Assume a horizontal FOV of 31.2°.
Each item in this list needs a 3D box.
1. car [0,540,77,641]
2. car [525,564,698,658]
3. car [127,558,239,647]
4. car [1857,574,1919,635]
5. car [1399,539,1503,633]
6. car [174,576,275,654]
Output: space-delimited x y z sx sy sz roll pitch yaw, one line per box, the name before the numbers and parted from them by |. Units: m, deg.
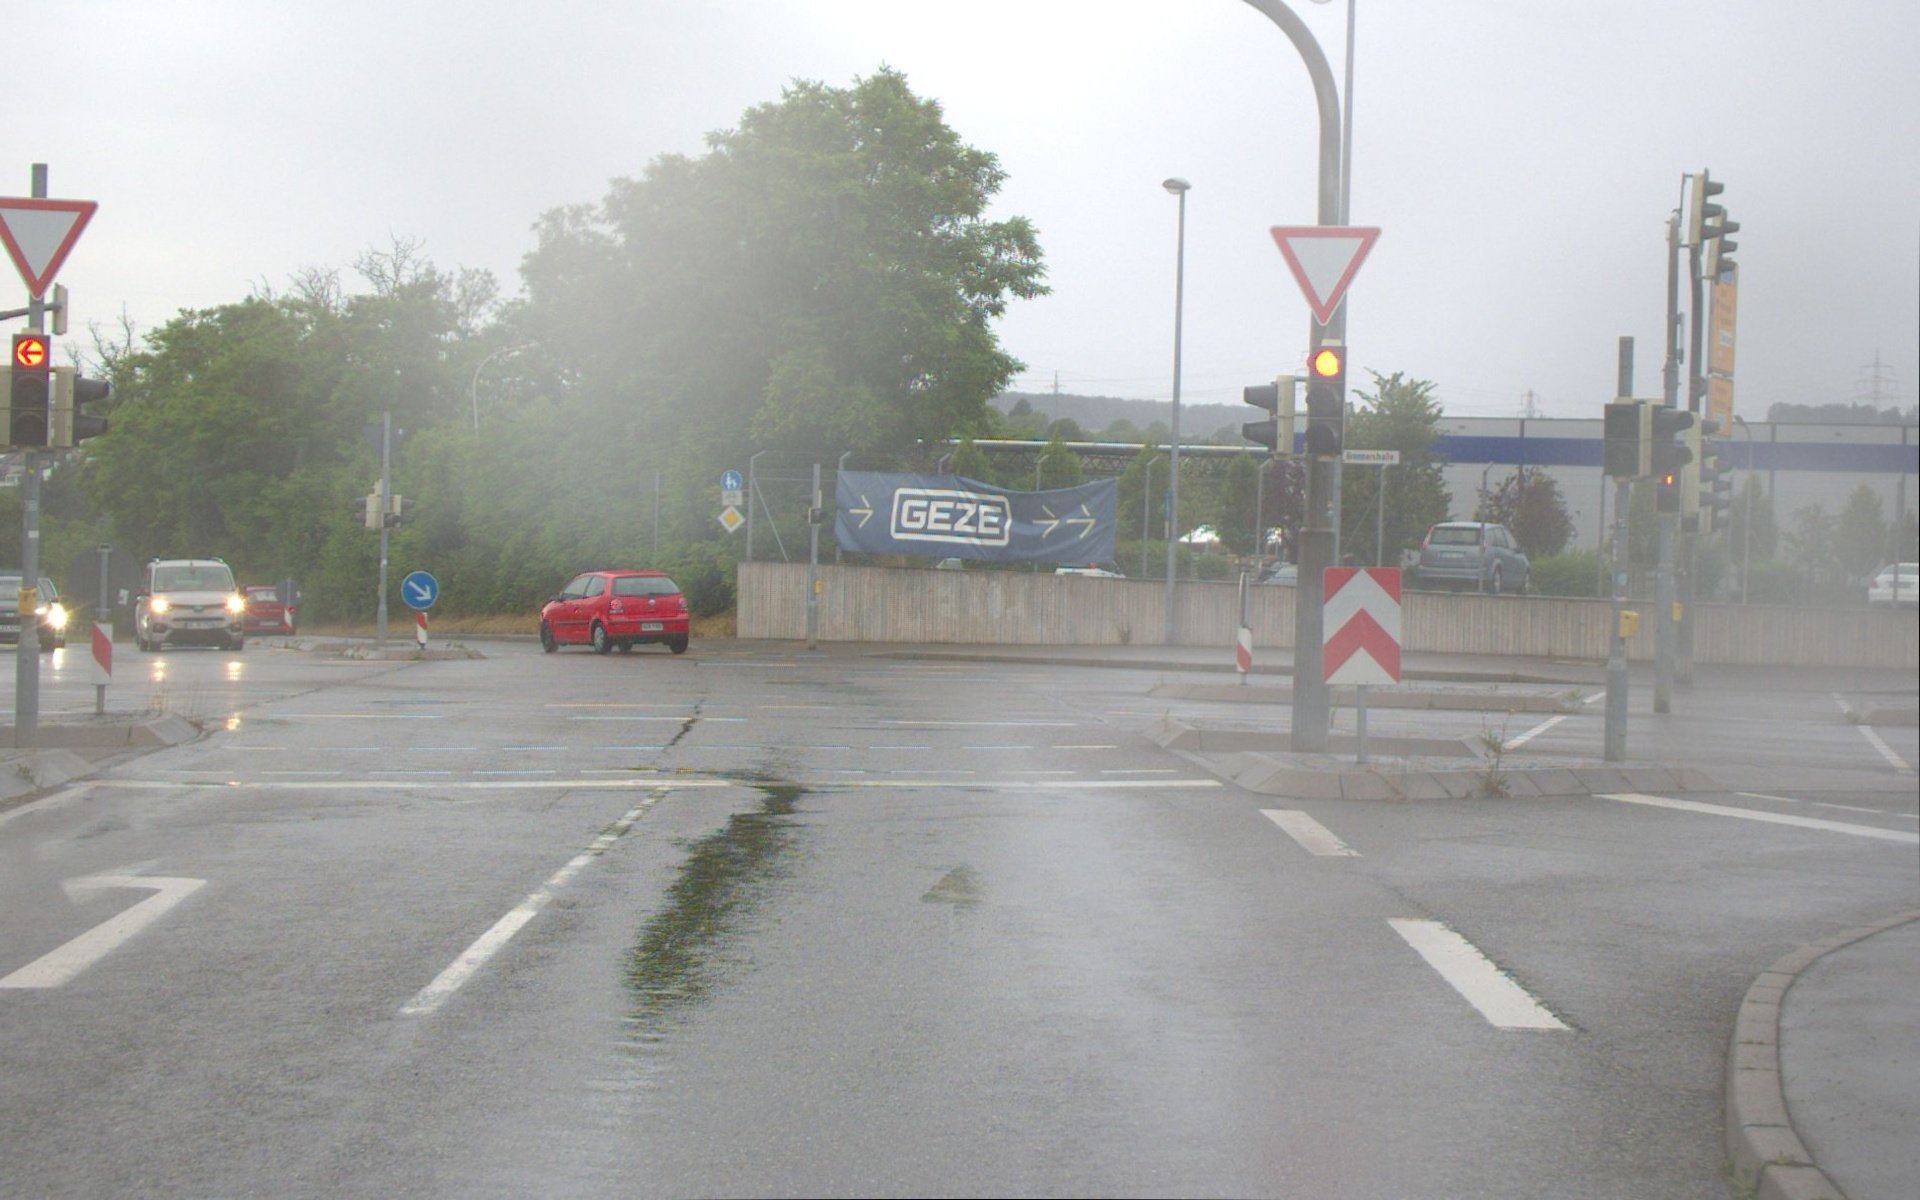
car | -18.582 -0.178 67.774 1.993 1.888 4.001 2 -1 -18
car | -6.198 0.174 60.865 1.615 1.444 3.808 2 2 -29
car | -15.186 0.030 67.071 1.993 1.612 4.001 1 1 -14
car | 24.020 0.103 87.263 1.996 1.473 3.996 2 1 21
car | 10.999 -0.319 76.840 1.994 2.007 3.998 1 0 12
car | -19.910 0.394 92.992 1.993 1.901 4.001 2 1 -21
